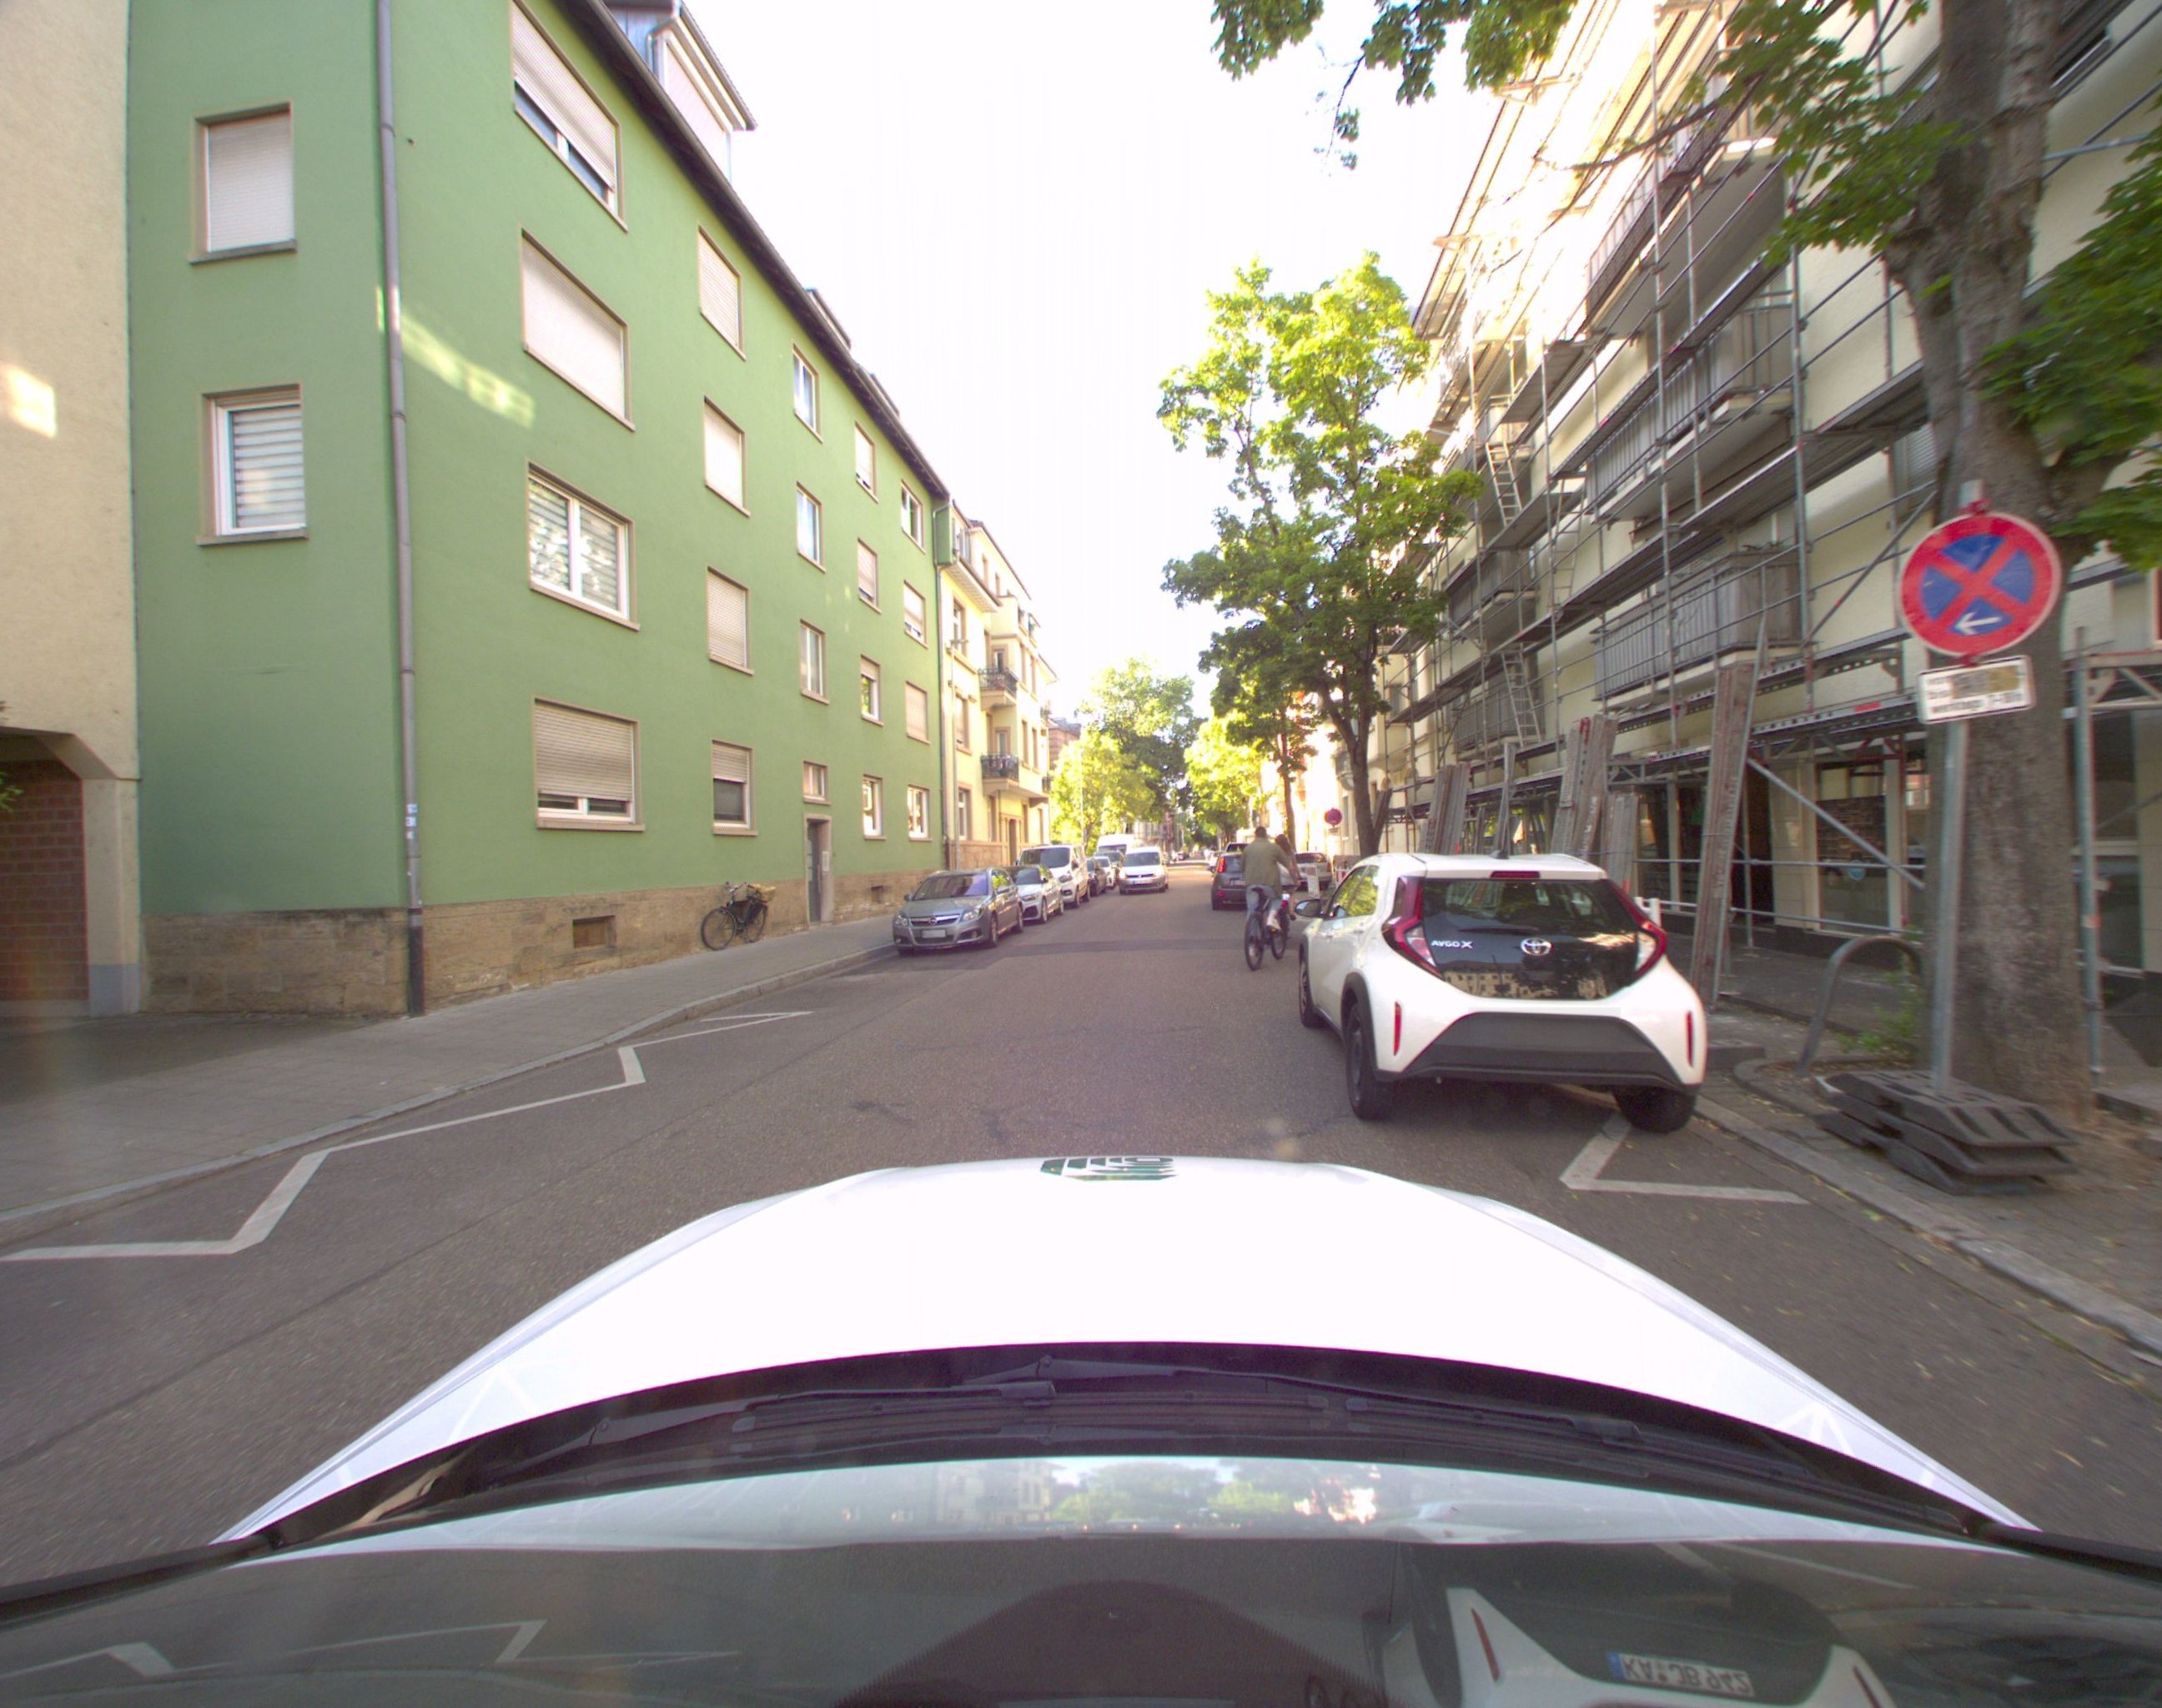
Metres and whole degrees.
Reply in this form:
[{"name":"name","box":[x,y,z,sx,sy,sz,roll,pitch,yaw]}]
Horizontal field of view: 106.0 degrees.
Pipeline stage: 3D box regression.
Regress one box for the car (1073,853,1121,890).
[{"name":"car","box":[0.795,0.752,37.307,1.701,1.504,4.009,-2,0,8]}]

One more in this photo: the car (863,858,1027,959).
[{"name":"car","box":[-2.405,0.917,15.596,1.969,1.455,4.119,-6,0,5]}]

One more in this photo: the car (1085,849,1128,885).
[{"name":"car","box":[1.352,0.618,41.858,1.701,1.699,4.009,-2,0,8]}]

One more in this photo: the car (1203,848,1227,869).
[{"name":"car","box":[10.866,0.321,66.258,1.678,1.604,4.008,-3,0,7]}]

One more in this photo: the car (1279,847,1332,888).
[{"name":"car","box":[8.210,0.456,29.985,1.547,1.409,3.390,1,1,10]}]

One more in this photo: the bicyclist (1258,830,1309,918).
[{"name":"bicyclist","box":[3.353,0.347,13.469,0.617,1.381,0.872,-4,-5,23]}]

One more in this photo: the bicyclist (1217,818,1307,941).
[{"name":"bicyclist","box":[2.445,0.356,10.982,0.873,1.562,0.873,-4,-4,32]}]

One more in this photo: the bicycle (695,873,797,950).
[{"name":"bicycle","box":[-5.882,0.970,14.470,0.547,1.178,2.284,1,1,9]}]

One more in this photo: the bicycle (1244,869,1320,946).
[{"name":"bicycle","box":[3.359,0.826,13.428,0.831,1.149,2.245,-1,-2,23]}]

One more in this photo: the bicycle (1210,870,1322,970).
[{"name":"bicycle","box":[2.589,0.832,11.156,0.831,1.149,2.247,1,1,30]}]

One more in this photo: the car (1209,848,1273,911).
[{"name":"car","box":[4.321,0.627,22.241,1.547,1.533,3.496,1,1,10]}]

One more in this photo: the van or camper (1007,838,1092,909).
[{"name":"van or camper","box":[-0.901,0.562,26.378,1.984,2.013,4.919,-3,0,5]}]

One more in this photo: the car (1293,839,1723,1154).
[{"name":"car","box":[2.562,0.698,5.790,1.665,1.545,3.411,0,0,8]}]

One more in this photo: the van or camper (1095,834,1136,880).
[{"name":"van or camper","box":[2.142,0.172,48.751,1.983,2.553,5.033,-2,0,7]}]

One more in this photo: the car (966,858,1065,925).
[{"name":"car","box":[-1.559,0.891,20.704,1.677,1.453,3.718,-3,0,8]}]

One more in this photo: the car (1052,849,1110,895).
[{"name":"car","box":[0.085,0.661,32.280,1.701,1.684,4.009,-2,0,8]}]

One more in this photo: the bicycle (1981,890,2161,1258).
[{"name":"bicycle","box":[4.616,0.725,3.029,1.980,1.165,0.724,-4,0,-10]}]

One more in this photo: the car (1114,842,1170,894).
[{"name":"car","box":[2.504,0.508,32.673,1.771,1.861,4.210,-3,0,9]}]
